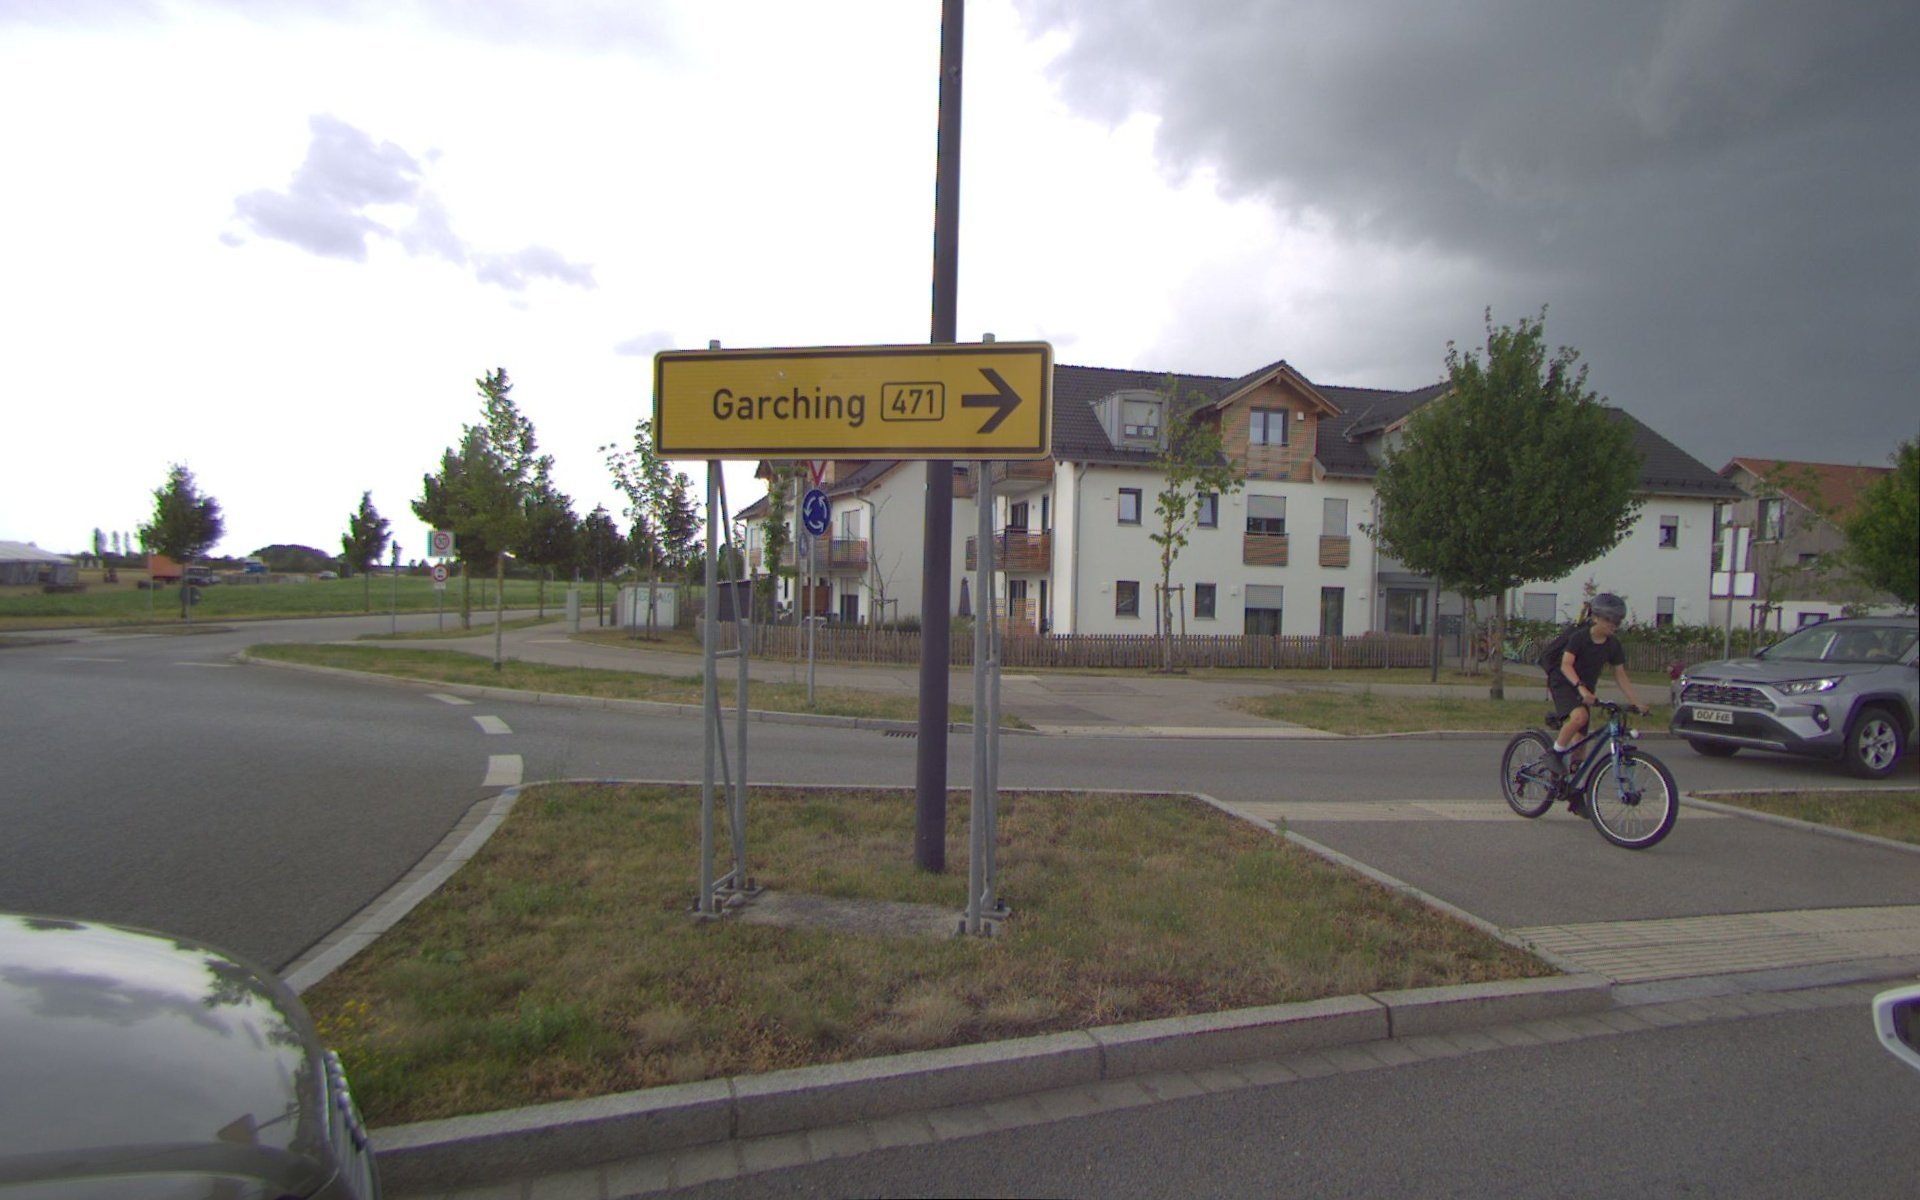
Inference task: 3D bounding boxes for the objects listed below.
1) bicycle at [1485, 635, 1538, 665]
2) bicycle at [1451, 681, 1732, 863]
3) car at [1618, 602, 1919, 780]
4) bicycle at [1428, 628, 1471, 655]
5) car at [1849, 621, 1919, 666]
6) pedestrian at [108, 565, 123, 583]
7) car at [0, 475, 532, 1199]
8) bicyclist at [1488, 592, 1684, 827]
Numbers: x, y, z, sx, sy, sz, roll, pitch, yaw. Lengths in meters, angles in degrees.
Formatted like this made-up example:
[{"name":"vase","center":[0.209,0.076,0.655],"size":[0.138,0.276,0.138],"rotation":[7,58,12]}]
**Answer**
[{"name":"bicycle","center":[17.147,1.565,31.215],"size":[1.520,0.854,0.367],"rotation":[2,3,-12]},{"name":"bicycle","center":[4.193,1.087,6.837],"size":[0.489,0.959,1.707],"rotation":[1,-1,-17]},{"name":"car","center":[10.102,0.956,11.215],"size":[4.554,1.726,1.995],"rotation":[2,-1,-13]},{"name":"bicycle","center":[16.531,1.390,33.921],"size":[1.314,0.854,0.367],"rotation":[2,3,-12]},{"name":"car","center":[41.141,1.912,43.193],"size":[4.384,1.795,1.997],"rotation":[2,1,-9]},{"name":"pedestrian","center":[-96.689,-2.954,114.984],"size":[1.037,2.041,1.054],"rotation":[1,1,-25]},{"name":"car","center":[-2.742,0.593,0.318],"size":[4.500,1.485,1.764],"rotation":[1,1,-38]},{"name":"bicyclist","center":[4.214,0.694,6.809],"size":[0.713,1.466,0.866],"rotation":[1,0,-18]}]
